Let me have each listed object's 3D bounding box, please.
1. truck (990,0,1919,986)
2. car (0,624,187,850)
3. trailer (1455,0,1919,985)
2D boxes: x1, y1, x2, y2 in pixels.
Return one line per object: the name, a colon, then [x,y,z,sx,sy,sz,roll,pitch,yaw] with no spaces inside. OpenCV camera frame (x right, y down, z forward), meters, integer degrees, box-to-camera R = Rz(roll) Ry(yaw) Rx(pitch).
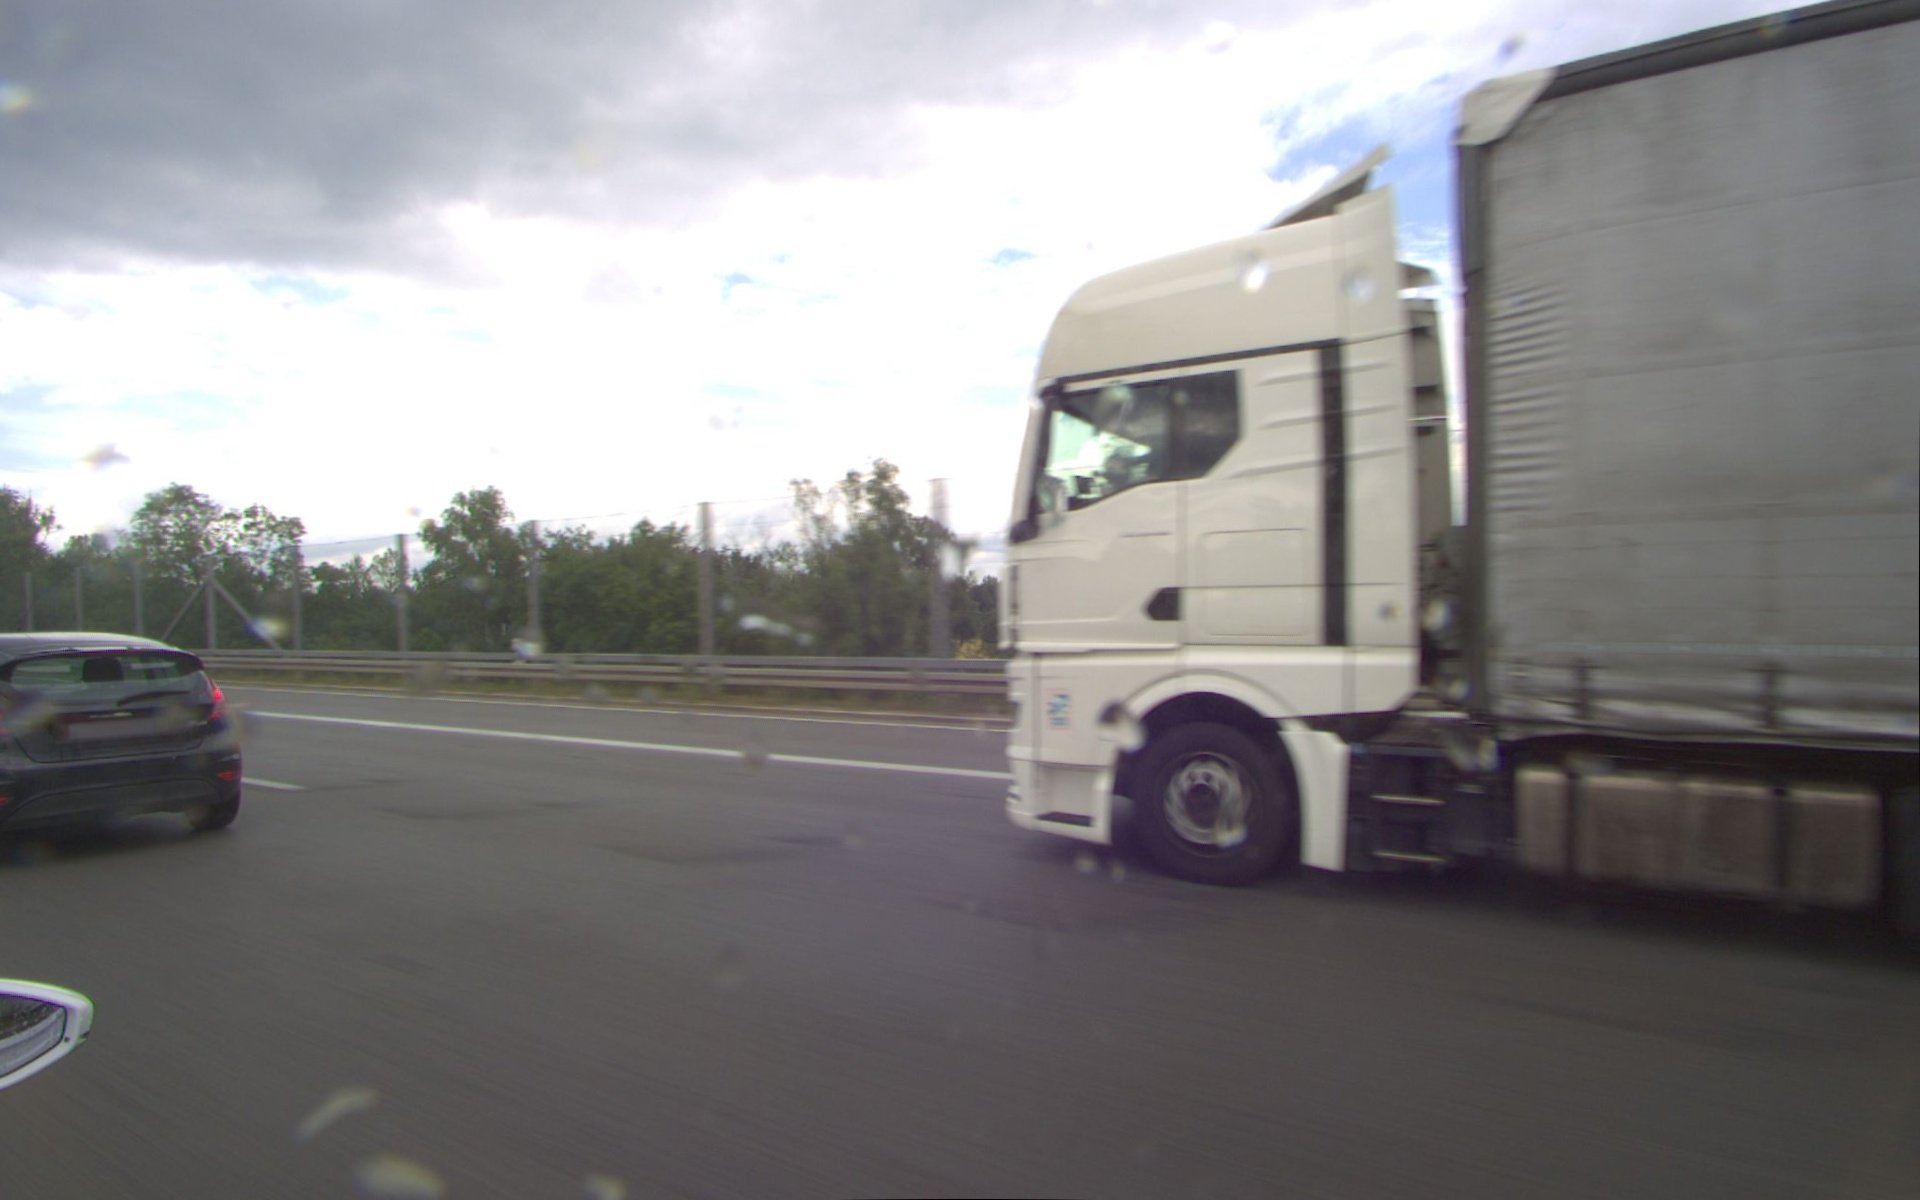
truck: [3.705,-0.473,5.737,6.493,4.072,2.957,-1,-1,31]
car: [-7.378,0.923,7.581,3.119,1.460,1.444,-1,-1,32]
trailer: [9.060,-0.565,2.415,13.915,4.072,2.956,-1,-1,32]
